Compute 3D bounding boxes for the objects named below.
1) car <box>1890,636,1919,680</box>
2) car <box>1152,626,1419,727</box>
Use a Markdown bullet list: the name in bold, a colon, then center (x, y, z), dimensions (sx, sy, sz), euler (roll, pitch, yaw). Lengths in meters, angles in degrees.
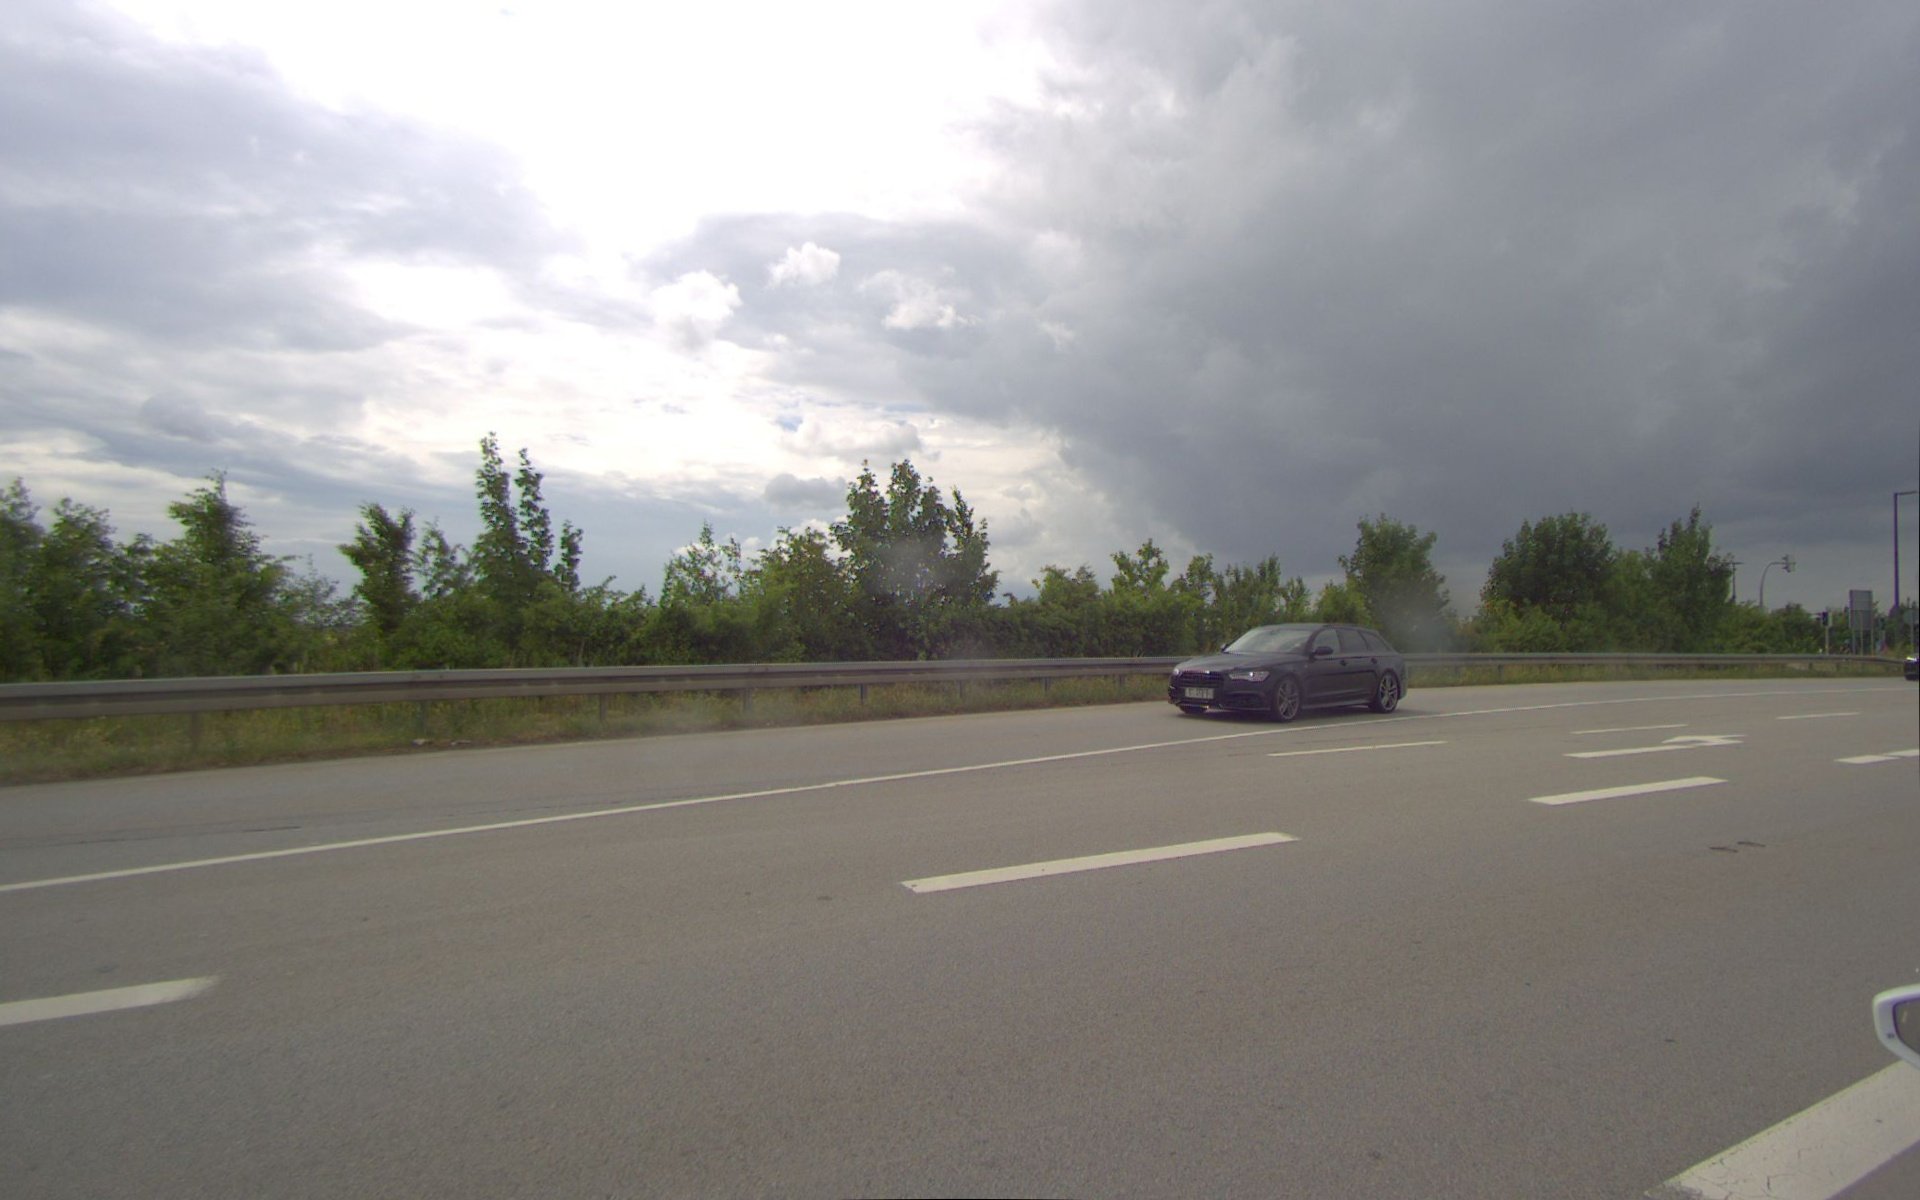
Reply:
- **car**: center (32.942, 1.954, 33.399), dimensions (3.861, 1.444, 1.837), euler (2, -2, -29)
- **car**: center (5.316, 1.131, 16.081), dimensions (4.744, 1.386, 1.794), euler (2, -2, -39)
